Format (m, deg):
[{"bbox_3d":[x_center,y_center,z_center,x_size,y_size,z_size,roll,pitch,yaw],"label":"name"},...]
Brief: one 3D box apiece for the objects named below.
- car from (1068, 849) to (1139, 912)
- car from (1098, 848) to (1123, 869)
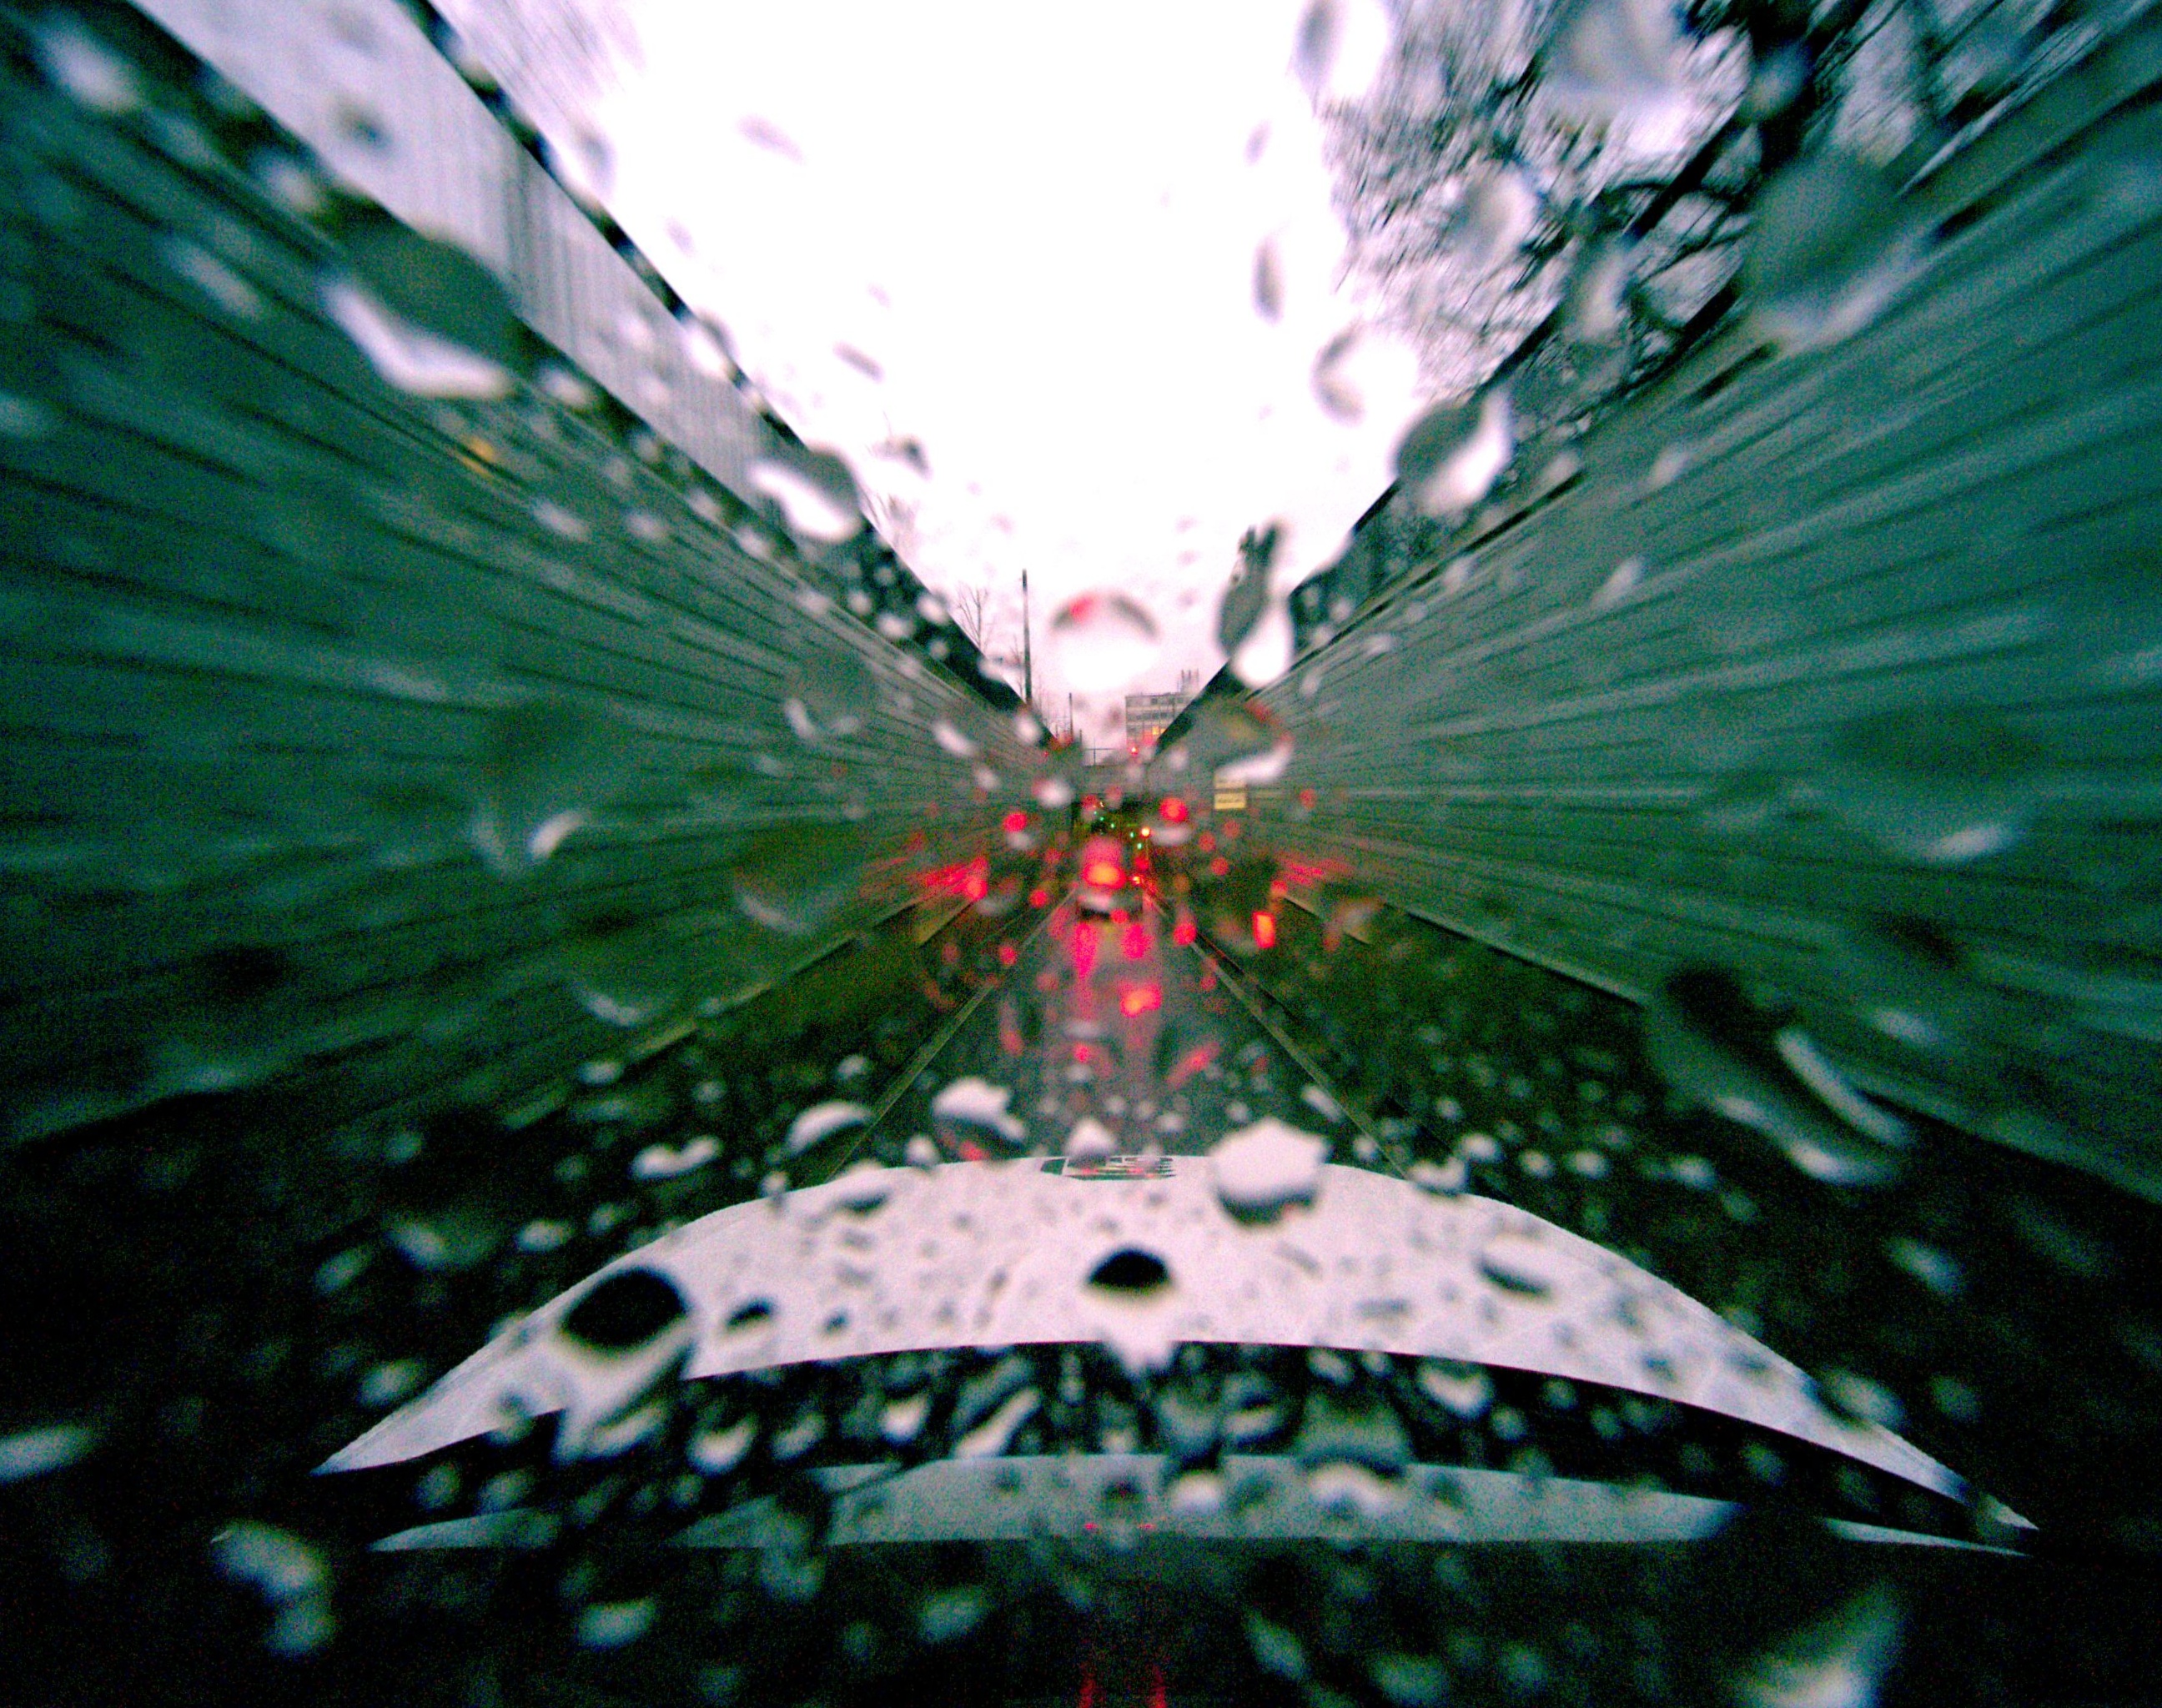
[{"bbox_3d":[0.663,0.643,21.886,1.715,1.479,4.004,0,1,3],"label":"car"},{"bbox_3d":[2.430,0.333,67.710,1.913,1.485,4.002,0,3,0],"label":"car"}]
